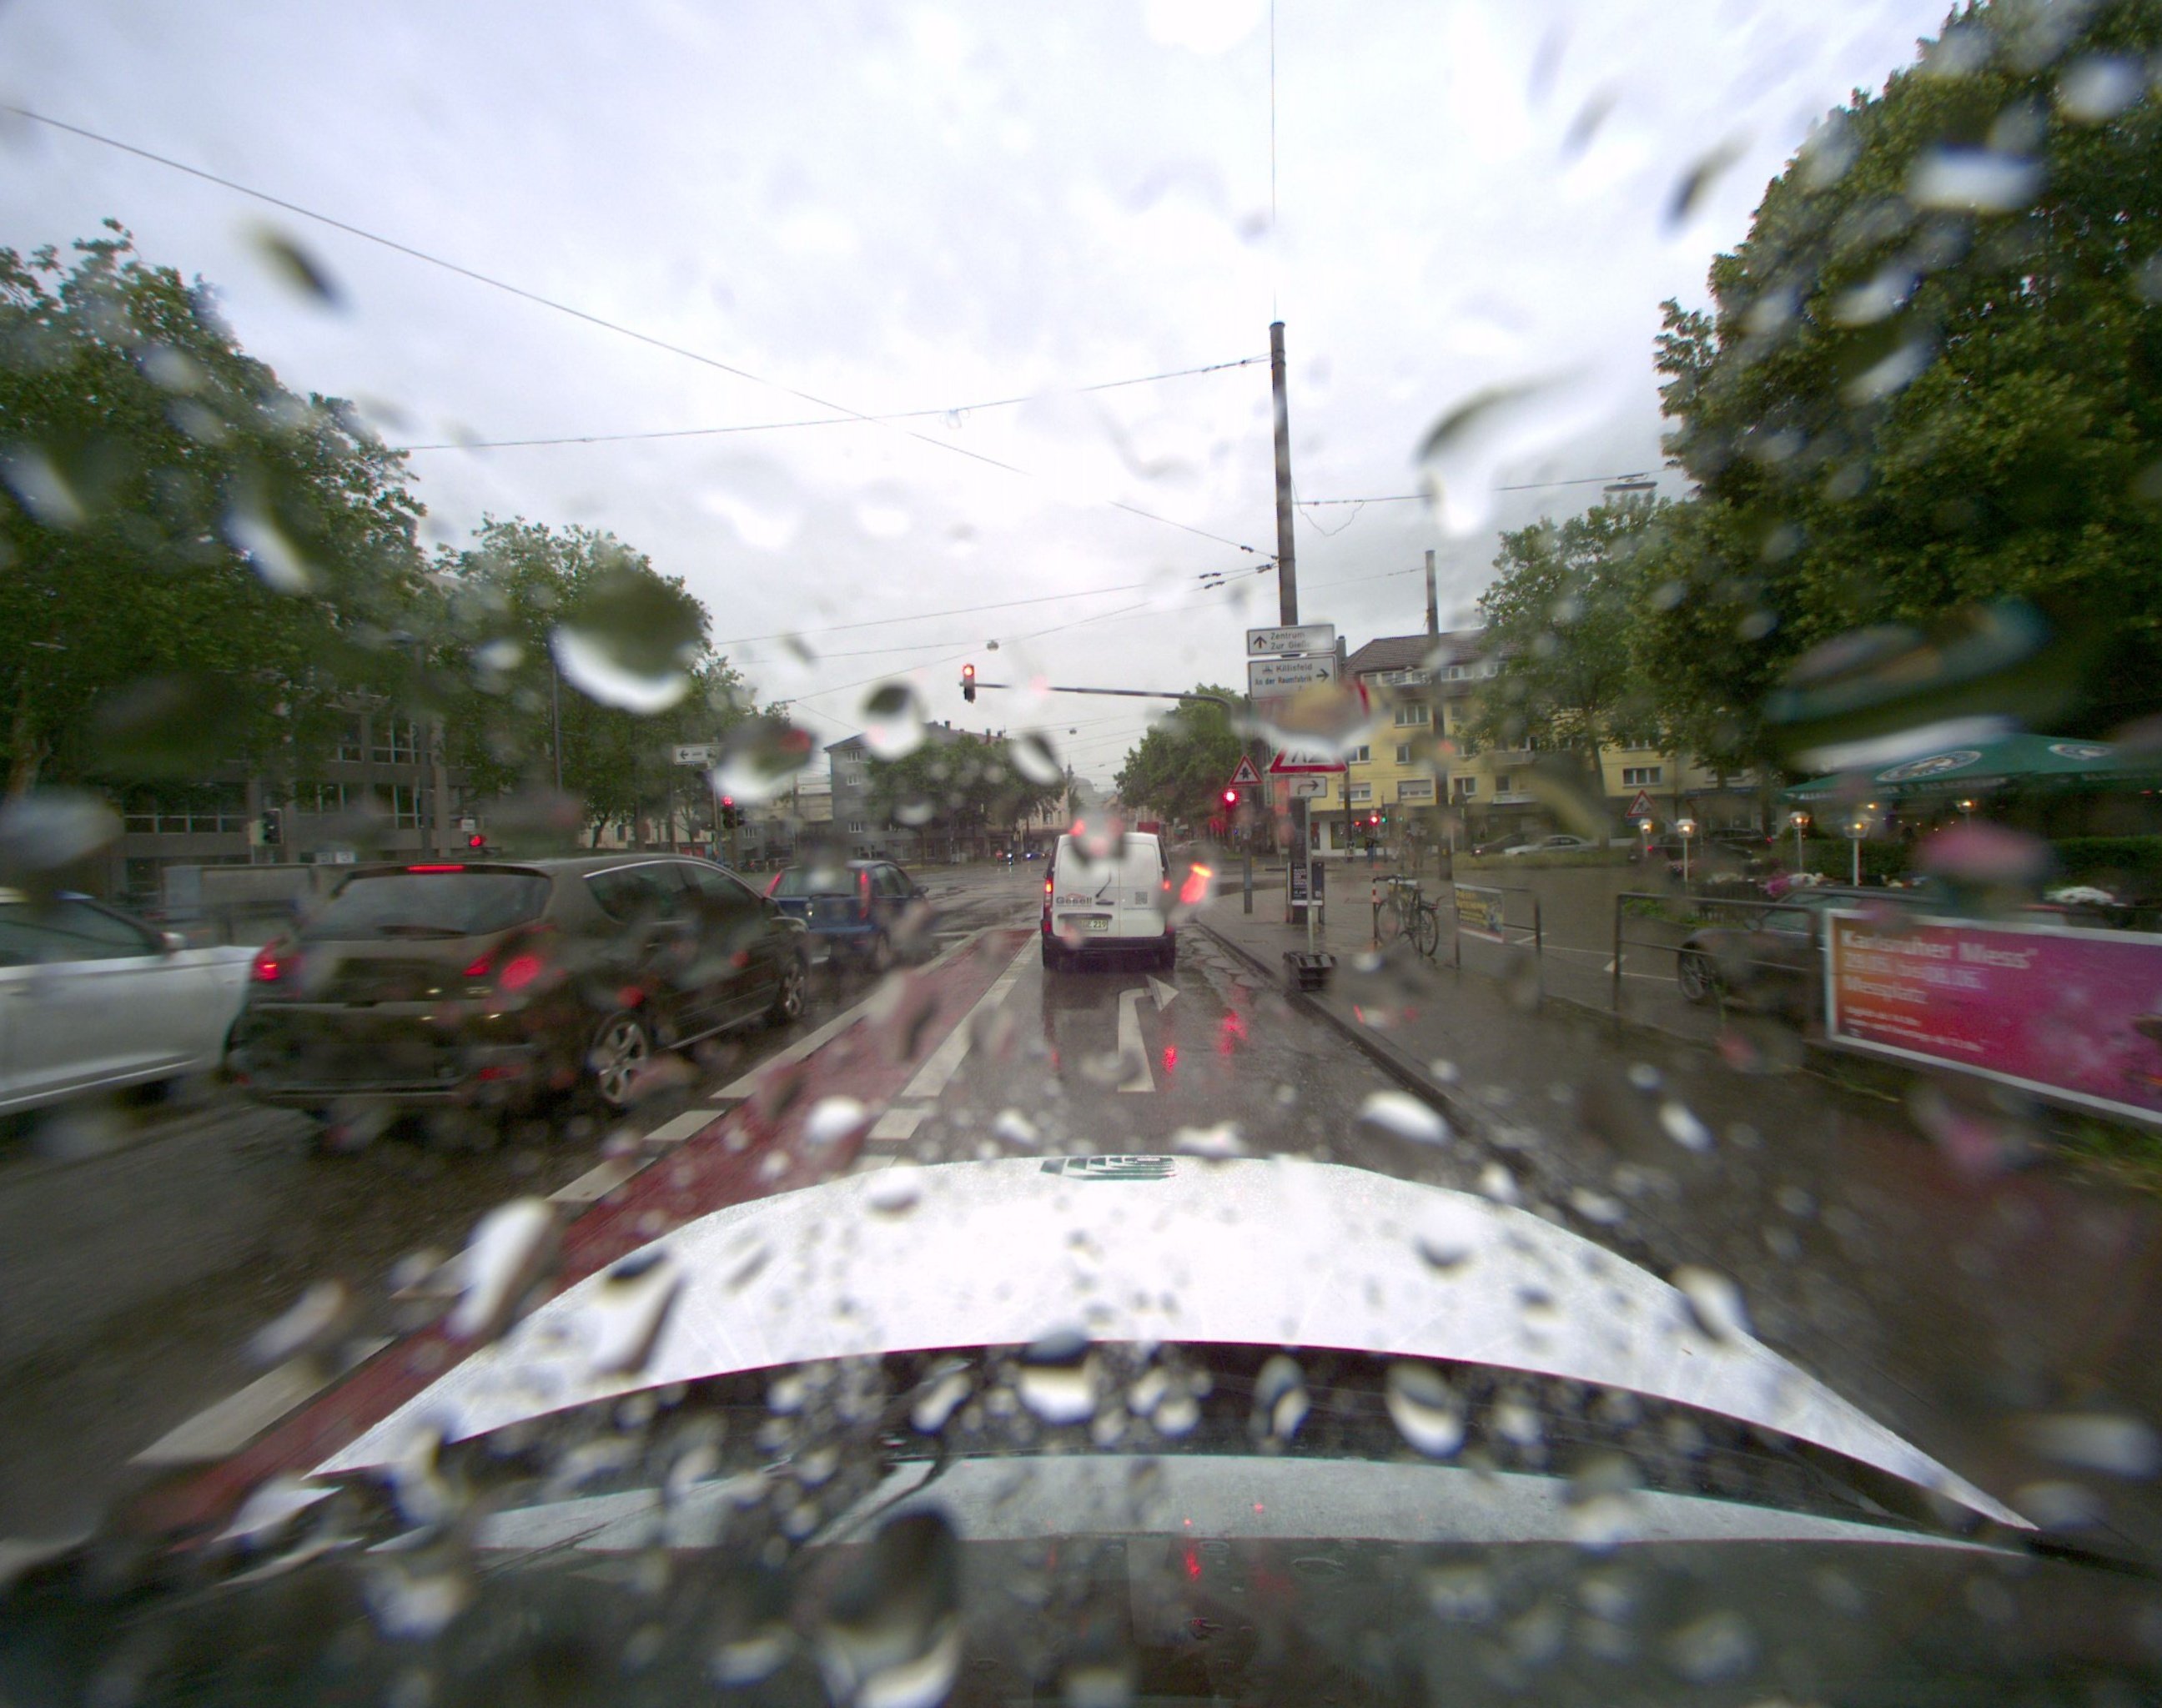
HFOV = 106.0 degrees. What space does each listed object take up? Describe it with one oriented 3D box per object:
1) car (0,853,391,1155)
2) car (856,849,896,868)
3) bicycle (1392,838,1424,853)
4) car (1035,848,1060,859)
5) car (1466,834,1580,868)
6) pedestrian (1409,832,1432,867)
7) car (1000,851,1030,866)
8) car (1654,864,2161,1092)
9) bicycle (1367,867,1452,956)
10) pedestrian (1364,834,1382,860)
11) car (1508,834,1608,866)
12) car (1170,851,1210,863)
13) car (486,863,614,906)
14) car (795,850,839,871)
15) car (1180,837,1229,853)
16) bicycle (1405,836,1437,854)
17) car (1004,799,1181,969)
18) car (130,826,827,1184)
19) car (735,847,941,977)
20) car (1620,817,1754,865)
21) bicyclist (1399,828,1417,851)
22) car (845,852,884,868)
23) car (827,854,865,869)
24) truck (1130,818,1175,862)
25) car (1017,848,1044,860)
[{"bbox_3d":[-6.683,0.842,4.906,1.638,1.629,3.838,-2,0,2],"label":"car"},{"bbox_3d":[-22.735,0.463,90.440,1.974,2.013,4.025,-1,0,29],"label":"car"},{"bbox_3d":[22.762,-0.570,56.775,2.003,1.027,0.662,-1,0,14],"label":"bicycle"},{"bbox_3d":[-4.478,-0.093,108.626,1.935,1.239,4.020,-1,2,19],"label":"car"},{"bbox_3d":[23.212,-0.139,42.949,4.902,1.643,2.007,-1,-2,14],"label":"car"},{"bbox_3d":[16.547,-0.218,39.661,0.896,1.669,1.026,-1,0,29],"label":"pedestrian"},{"bbox_3d":[-7.668,0.520,94.617,1.935,1.607,4.020,0,2,19],"label":"car"},{"bbox_3d":[7.347,0.909,7.569,1.698,1.442,3.529,2,2,4],"label":"car"},{"bbox_3d":[4.678,0.769,11.723,0.512,1.107,2.019,2,1,4],"label":"bicycle"},{"bbox_3d":[17.037,-0.407,47.472,0.820,1.534,0.616,-1,0,-36],"label":"pedestrian"},{"bbox_3d":[23.181,-0.200,39.715,3.906,1.490,1.815,-1,1,18],"label":"car"},{"bbox_3d":[10.057,0.272,75.558,3.437,1.130,1.468,-1,0,-6],"label":"car"},{"bbox_3d":[-18.320,1.020,28.288,1.582,1.314,3.538,-1,0,16],"label":"car"},{"bbox_3d":[-30.172,0.726,93.317,1.975,2.198,4.816,0,2,25],"label":"car"},{"bbox_3d":[11.110,-0.817,73.501,4.160,1.338,1.518,-2,1,-6],"label":"car"},{"bbox_3d":[24.772,-0.659,59.425,2.085,1.261,0.534,-1,1,16],"label":"bicycle"},{"bbox_3d":[0.229,0.364,12.352,2.092,2.012,4.965,-1,0,2],"label":"car"},{"bbox_3d":[-3.496,0.705,5.918,1.827,1.668,4.175,-1,0,2],"label":"car"},{"bbox_3d":[-3.319,0.704,11.931,1.720,1.578,3.822,-1,0,2],"label":"car"},{"bbox_3d":[24.863,-0.504,33.571,3.961,1.866,2.006,-1,0,11],"label":"car"},{"bbox_3d":[22.788,-1.012,56.743,1.058,1.547,0.940,-1,0,13],"label":"bicyclist"},{"bbox_3d":[-24.585,0.677,92.538,1.974,1.530,4.025,-1,2,29],"label":"car"},{"bbox_3d":[-26.905,0.787,93.343,1.935,1.495,4.025,1,3,29],"label":"car"},{"bbox_3d":[9.201,-1.641,102.910,3.445,5.087,15.362,-1,0,13],"label":"truck"},{"bbox_3d":[-6.258,-0.018,100.844,1.935,1.239,4.020,-1,2,19],"label":"car"}]
